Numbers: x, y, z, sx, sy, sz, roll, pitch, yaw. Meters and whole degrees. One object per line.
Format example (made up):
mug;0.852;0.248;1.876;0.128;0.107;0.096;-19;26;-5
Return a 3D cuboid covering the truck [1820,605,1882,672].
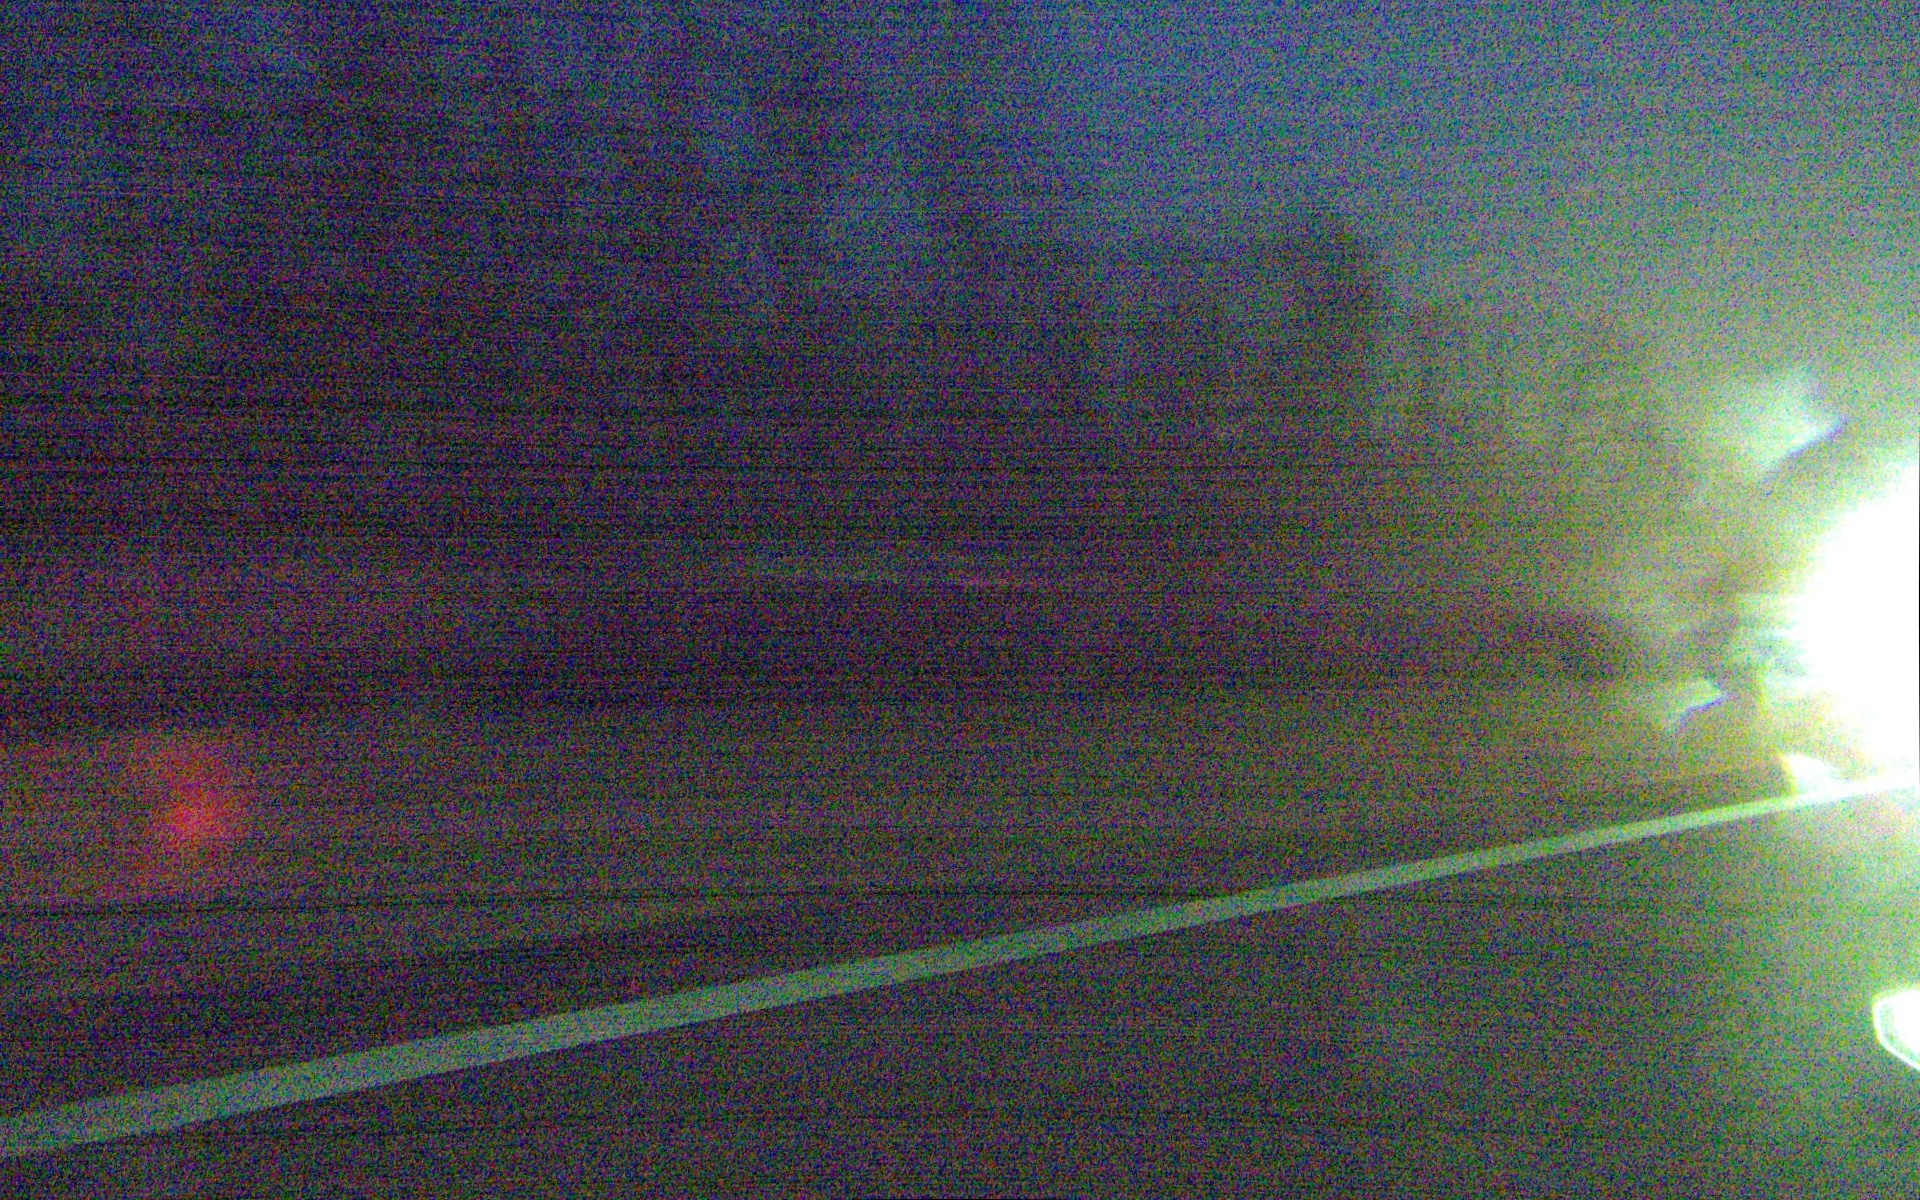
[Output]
truck;74.704;3.160;84.220;5.832;5.167;2.729;-1;5;-40

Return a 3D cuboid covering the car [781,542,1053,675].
car;-0.691;0.077;16.404;3.955;1.878;1.983;0;4;-32
